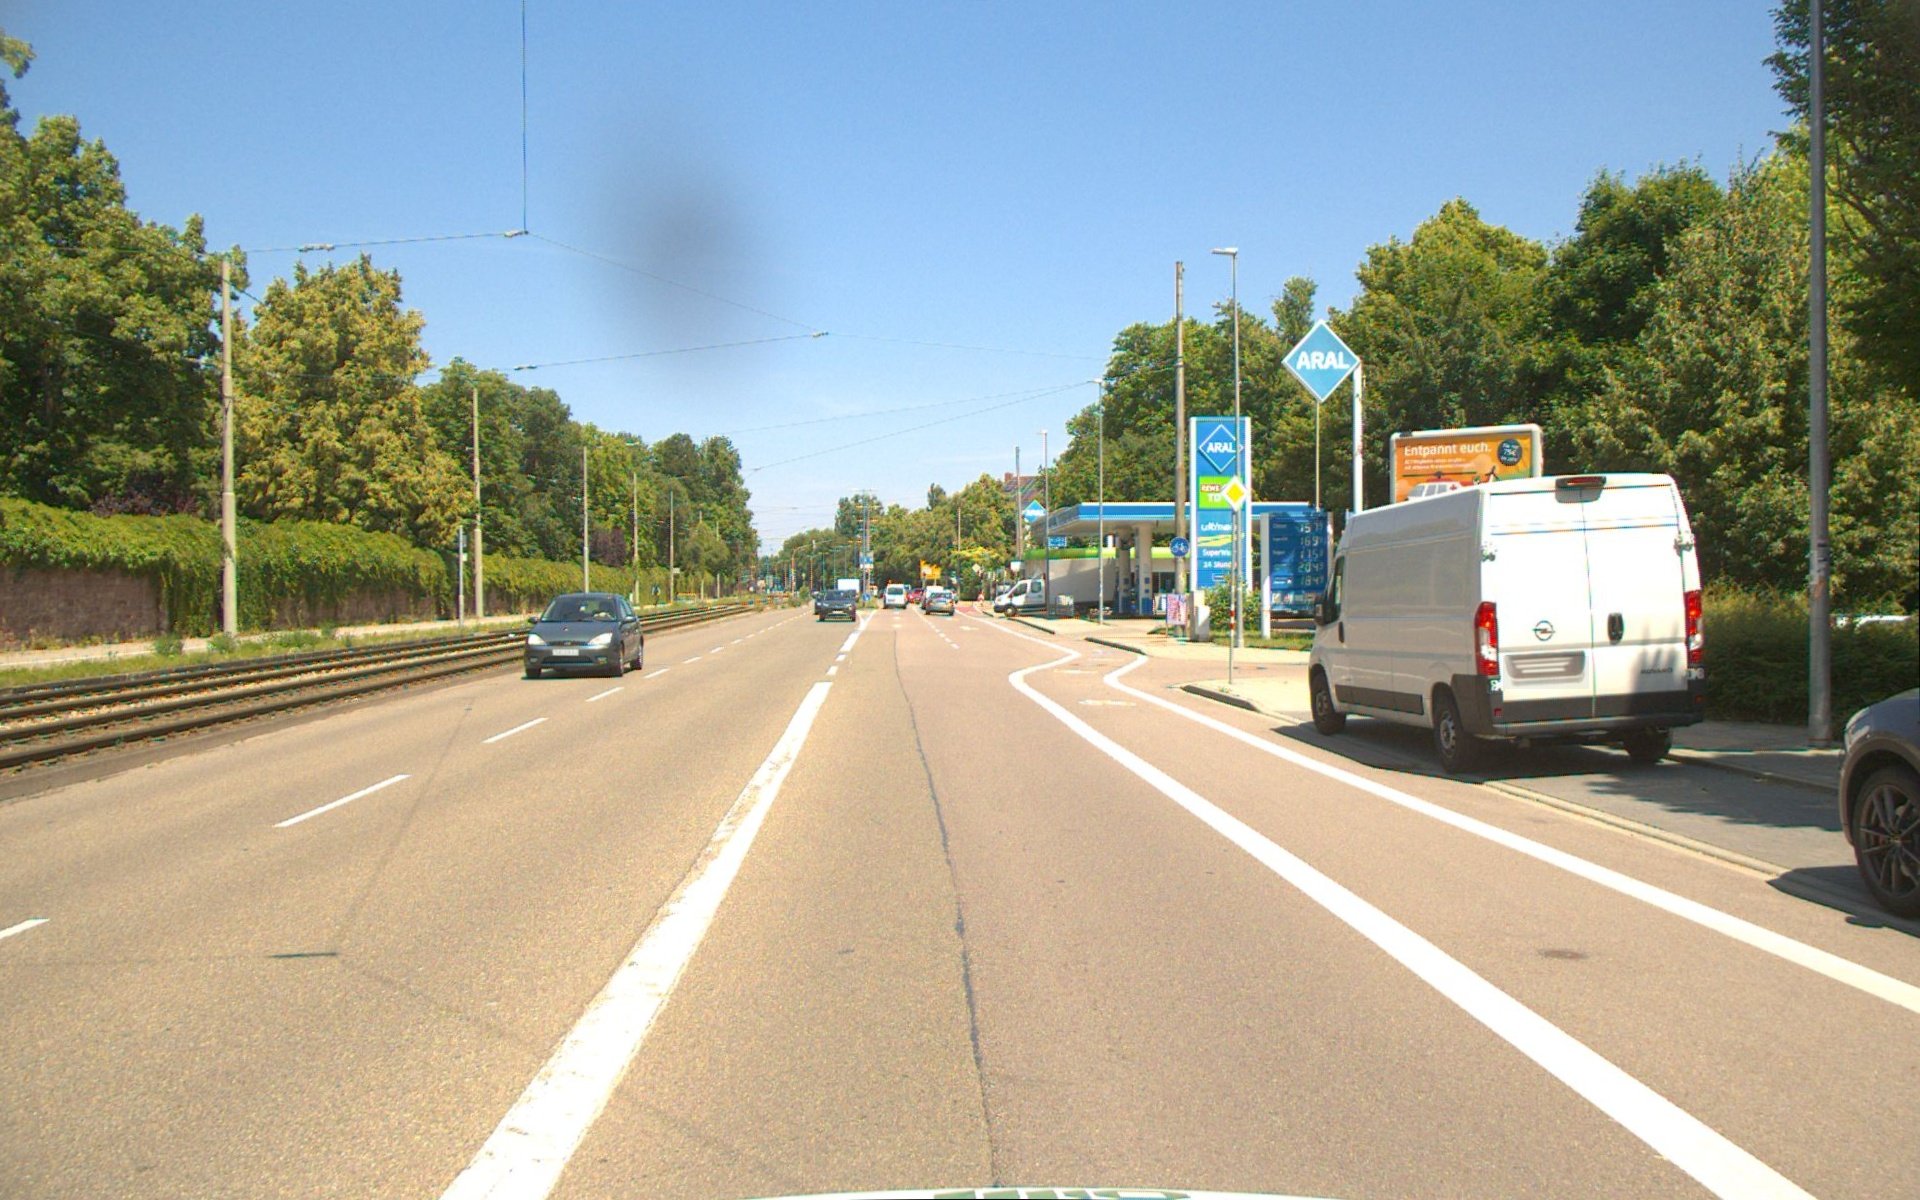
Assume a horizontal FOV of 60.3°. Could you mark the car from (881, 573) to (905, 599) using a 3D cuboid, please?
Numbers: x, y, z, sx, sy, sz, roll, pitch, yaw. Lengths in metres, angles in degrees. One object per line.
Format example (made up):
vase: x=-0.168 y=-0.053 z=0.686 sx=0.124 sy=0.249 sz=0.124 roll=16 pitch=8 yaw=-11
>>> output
car: x=-5.141 y=-1.065 z=126.664 sx=1.721 sy=1.907 sz=4.321 roll=-2 pitch=1 yaw=-3

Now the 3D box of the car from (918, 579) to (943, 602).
car: x=-2.286 y=-0.716 z=127.685 sx=1.721 sy=1.659 sz=4.321 roll=-3 pitch=1 yaw=-3

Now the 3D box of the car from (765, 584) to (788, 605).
car: x=-15.454 y=-0.449 z=138.931 sx=1.723 sy=1.659 sz=4.316 roll=-3 pitch=1 yaw=-8

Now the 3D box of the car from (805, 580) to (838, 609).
car: x=-8.435 y=-0.361 z=100.469 sx=1.723 sy=1.659 sz=4.316 roll=-3 pitch=1 yaw=-8

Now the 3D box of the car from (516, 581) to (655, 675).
car: x=-6.819 y=0.461 z=30.531 sx=1.721 sy=1.535 sz=4.321 roll=-3 pitch=1 yaw=-3

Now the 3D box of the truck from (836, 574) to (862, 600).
truck: x=-11.937 y=-1.441 z=179.209 sx=2.483 sy=2.725 sz=11.812 roll=0 pitch=1 yaw=-2

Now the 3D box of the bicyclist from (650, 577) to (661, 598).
bicyclist: x=-24.427 y=-0.999 z=132.852 sx=0.668 sy=1.601 sz=0.794 roll=-5 pitch=0 yaw=-4

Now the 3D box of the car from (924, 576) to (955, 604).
car: x=-1.337 y=-0.647 z=106.466 sx=1.721 sy=1.659 sz=4.321 roll=-3 pitch=1 yaw=-3

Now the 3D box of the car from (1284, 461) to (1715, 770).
car: x=5.131 y=0.088 z=16.901 sx=1.962 sy=2.499 sz=6.105 roll=-2 pitch=1 yaw=-4

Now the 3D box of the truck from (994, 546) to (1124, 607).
truck: x=6.084 y=-1.409 z=101.248 sx=7.800 sy=3.665 sz=2.664 roll=0 pitch=1 yaw=4

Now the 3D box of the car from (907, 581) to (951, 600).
car: x=-2.996 y=-0.909 z=158.309 sx=4.250 sy=1.688 sz=1.750 roll=-2 pitch=1 yaw=44

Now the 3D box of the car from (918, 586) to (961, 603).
car: x=-2.219 y=-0.564 z=177.591 sx=4.219 sy=1.659 sz=1.763 roll=-2 pitch=1 yaw=17

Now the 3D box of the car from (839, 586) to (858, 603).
car: x=-11.382 y=-0.603 z=169.285 sx=1.720 sy=1.659 sz=4.322 roll=-2 pitch=1 yaw=-2

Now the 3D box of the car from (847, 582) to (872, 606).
car: x=-7.535 y=-0.478 z=124.385 sx=1.720 sy=1.659 sz=4.323 roll=-2 pitch=1 yaw=-1

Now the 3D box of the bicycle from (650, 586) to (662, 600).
bicycle: x=-24.393 y=-0.569 z=132.840 sx=0.668 sy=1.072 sz=2.007 roll=-5 pitch=0 yaw=-4

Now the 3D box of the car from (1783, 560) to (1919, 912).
car: x=5.454 y=0.631 z=6.844 sx=1.721 sy=1.659 sz=4.321 roll=-3 pitch=1 yaw=-3

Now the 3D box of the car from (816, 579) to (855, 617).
car: x=-5.948 y=-0.118 z=79.237 sx=1.721 sy=1.659 sz=4.321 roll=-3 pitch=1 yaw=-3
